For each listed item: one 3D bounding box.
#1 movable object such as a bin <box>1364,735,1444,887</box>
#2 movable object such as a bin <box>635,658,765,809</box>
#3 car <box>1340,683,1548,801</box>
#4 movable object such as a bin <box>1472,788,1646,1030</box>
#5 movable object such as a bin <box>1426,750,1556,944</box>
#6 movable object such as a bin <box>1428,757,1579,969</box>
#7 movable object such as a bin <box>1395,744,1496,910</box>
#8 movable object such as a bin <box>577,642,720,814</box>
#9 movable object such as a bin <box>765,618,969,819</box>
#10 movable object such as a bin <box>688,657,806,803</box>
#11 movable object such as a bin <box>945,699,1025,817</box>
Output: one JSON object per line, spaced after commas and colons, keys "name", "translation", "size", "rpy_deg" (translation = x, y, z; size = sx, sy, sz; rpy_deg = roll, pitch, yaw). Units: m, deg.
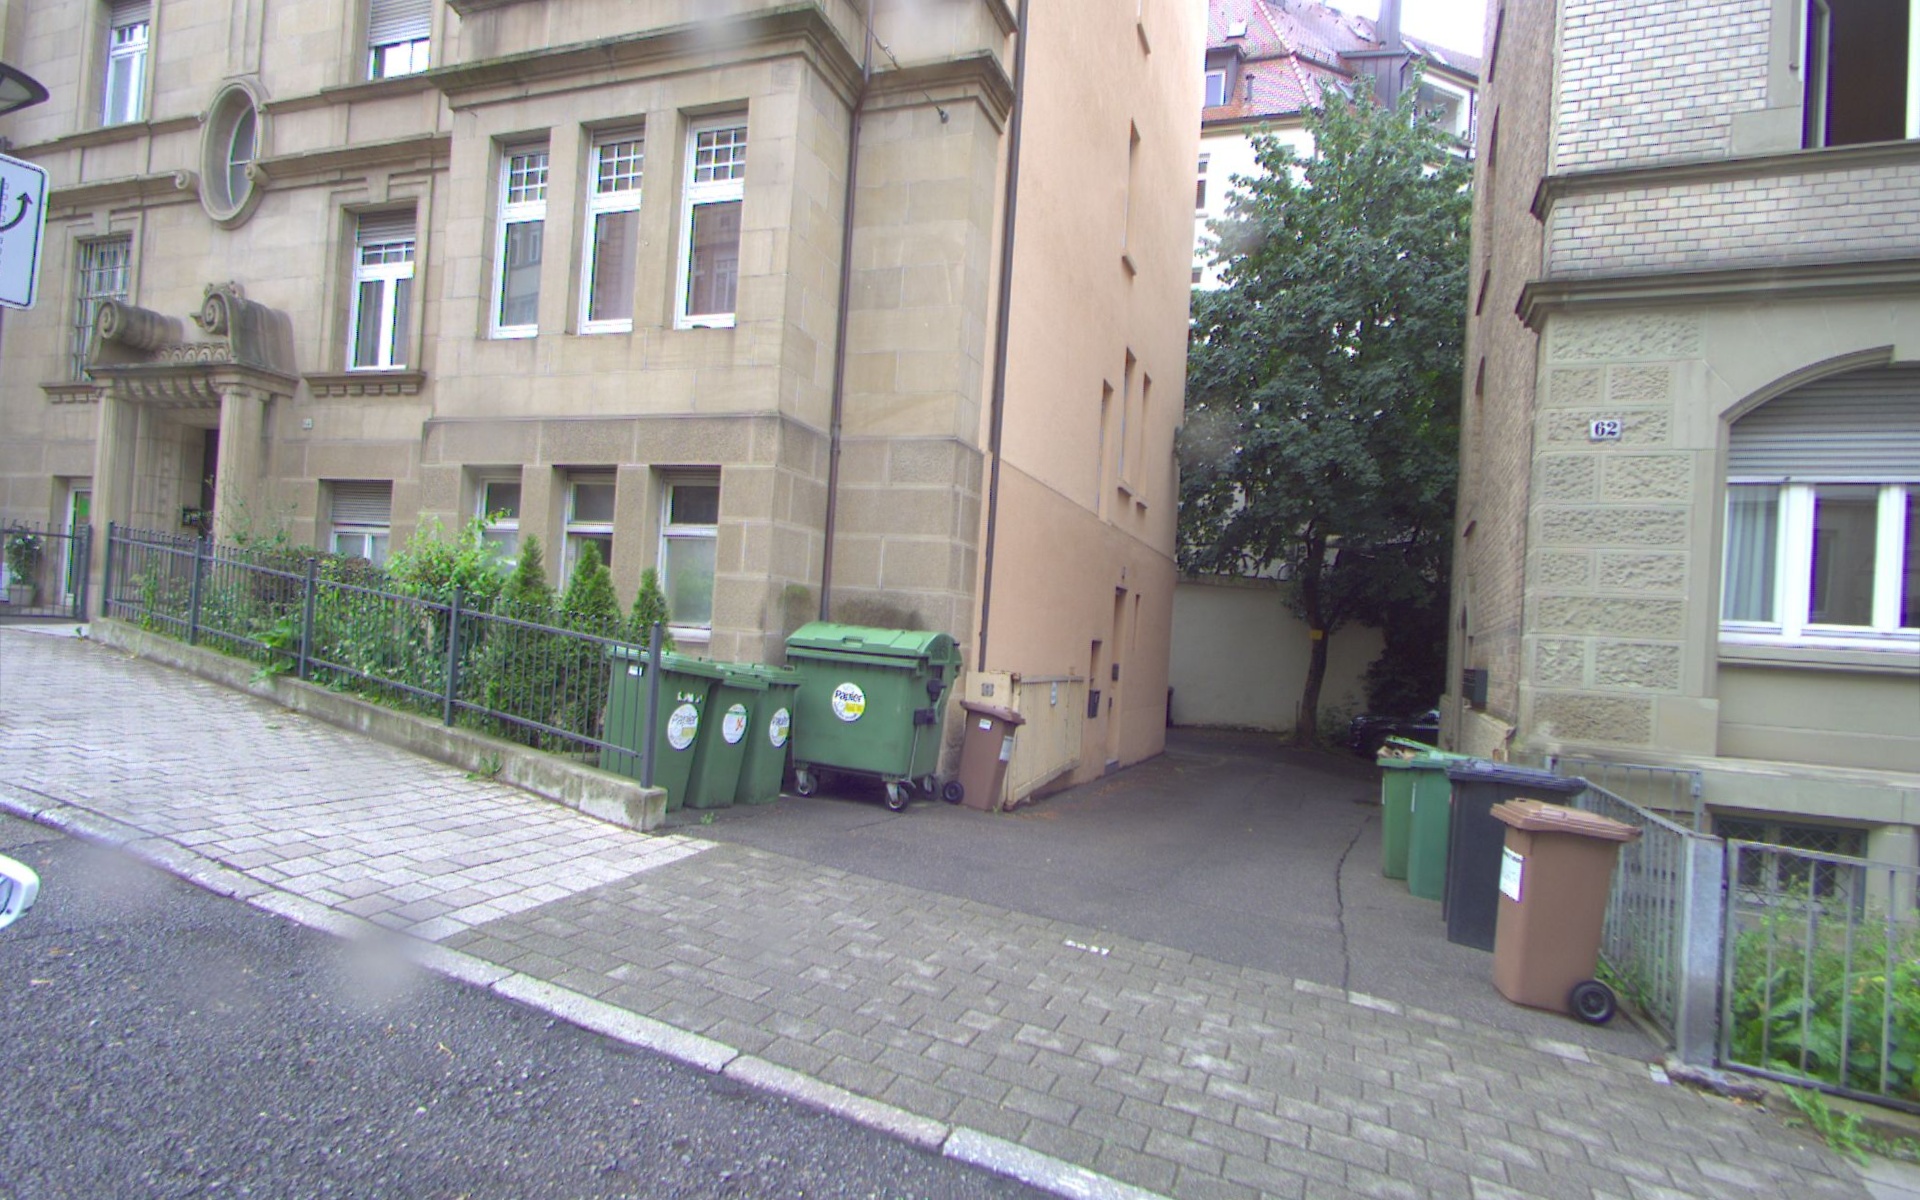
{"name": "movable object such as a bin", "translation": [3.586, 1.679, 8.138], "size": [0.469, 1.113, 0.521], "rpy_deg": [6, -3, 23]}
{"name": "movable object such as a bin", "translation": [-1.875, 0.960, 7.302], "size": [0.593, 0.978, 0.540], "rpy_deg": [6, -4, 20]}
{"name": "car", "translation": [10.981, 3.145, 22.977], "size": [3.930, 1.530, 1.796], "rpy_deg": [13, 5, 28]}
{"name": "movable object such as a bin", "translation": [2.800, 1.425, 4.745], "size": [0.527, 0.932, 0.427], "rpy_deg": [7, 2, 20]}
{"name": "movable object such as a bin", "translation": [3.374, 1.544, 6.432], "size": [0.598, 1.072, 0.501], "rpy_deg": [6, -3, 24]}
{"name": "movable object such as a bin", "translation": [3.150, 1.485, 5.847], "size": [0.653, 1.041, 0.529], "rpy_deg": [6, -4, 30]}
{"name": "movable object such as a bin", "translation": [3.561, 1.640, 7.405], "size": [0.545, 1.072, 0.498], "rpy_deg": [6, -3, 24]}
{"name": "movable object such as a bin", "translation": [-2.081, 0.853, 6.761], "size": [0.593, 1.036, 0.540], "rpy_deg": [6, -4, 20]}
{"name": "movable object such as a bin", "translation": [-0.758, 0.981, 8.483], "size": [1.256, 1.446, 0.976], "rpy_deg": [6, -4, 20]}
{"name": "movable object such as a bin", "translation": [-1.665, 1.015, 7.912], "size": [0.593, 1.036, 0.540], "rpy_deg": [6, -4, 20]}
{"name": "movable object such as a bin", "translation": [0.229, 1.400, 8.978], "size": [0.510, 0.952, 0.395], "rpy_deg": [6, -4, 20]}
